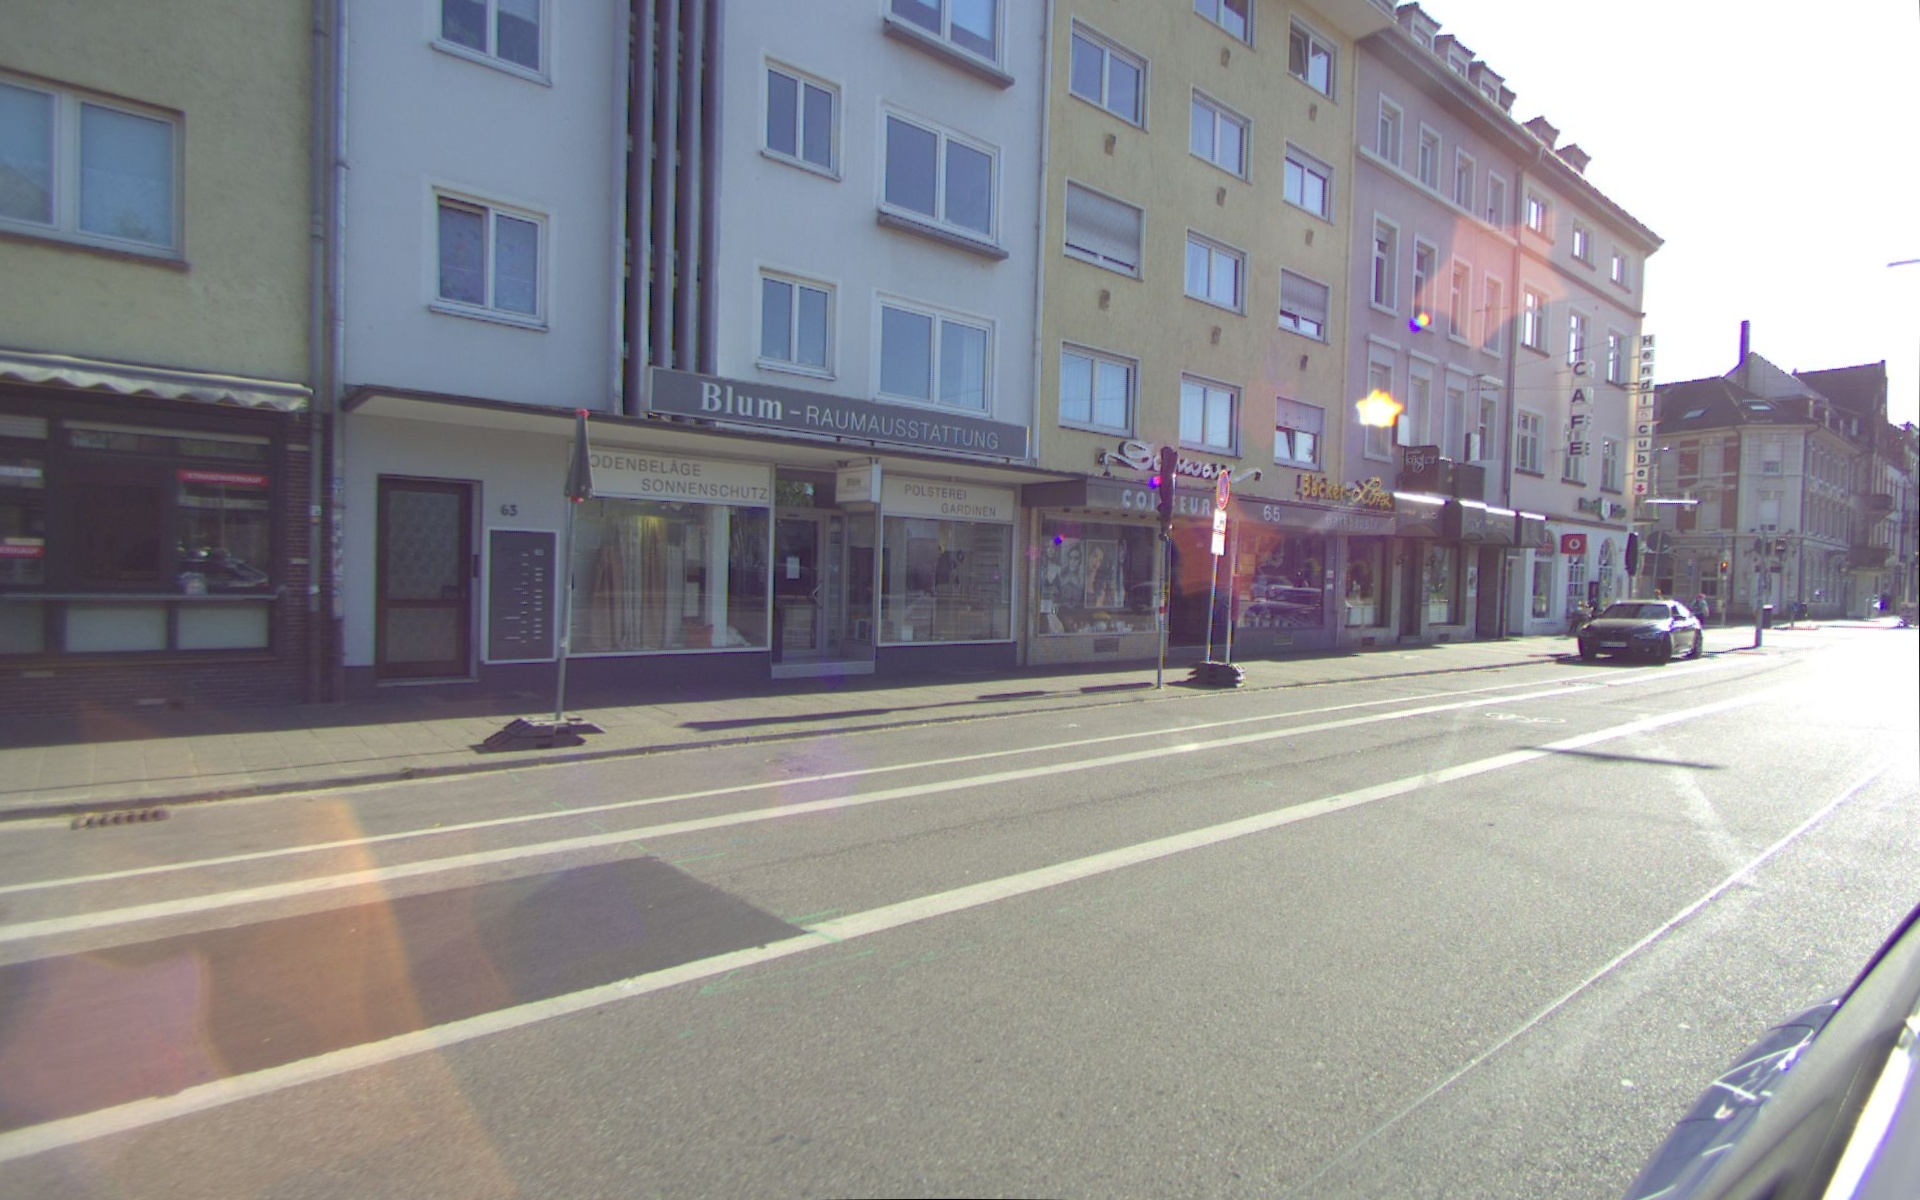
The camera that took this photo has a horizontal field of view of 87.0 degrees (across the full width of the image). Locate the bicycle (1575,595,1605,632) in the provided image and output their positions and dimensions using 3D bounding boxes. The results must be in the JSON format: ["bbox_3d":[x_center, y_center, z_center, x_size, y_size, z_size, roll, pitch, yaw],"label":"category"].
[{"bbox_3d":[20.197,0.422,32.431,0.692,1.122,1.842,2,2,35],"label":"bicycle"}]

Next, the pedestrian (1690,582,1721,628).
[{"bbox_3d":[28.529,0.178,38.721,0.786,1.712,0.775,3,-1,-41],"label":"pedestrian"}]

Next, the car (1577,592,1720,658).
[{"bbox_3d":[16.893,0.538,24.747,4.636,1.447,1.902,-1,1,-42],"label":"car"}]

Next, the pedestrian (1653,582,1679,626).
[{"bbox_3d":[27.897,0.139,39.965,0.665,1.711,0.663,0,1,-41],"label":"pedestrian"}]
